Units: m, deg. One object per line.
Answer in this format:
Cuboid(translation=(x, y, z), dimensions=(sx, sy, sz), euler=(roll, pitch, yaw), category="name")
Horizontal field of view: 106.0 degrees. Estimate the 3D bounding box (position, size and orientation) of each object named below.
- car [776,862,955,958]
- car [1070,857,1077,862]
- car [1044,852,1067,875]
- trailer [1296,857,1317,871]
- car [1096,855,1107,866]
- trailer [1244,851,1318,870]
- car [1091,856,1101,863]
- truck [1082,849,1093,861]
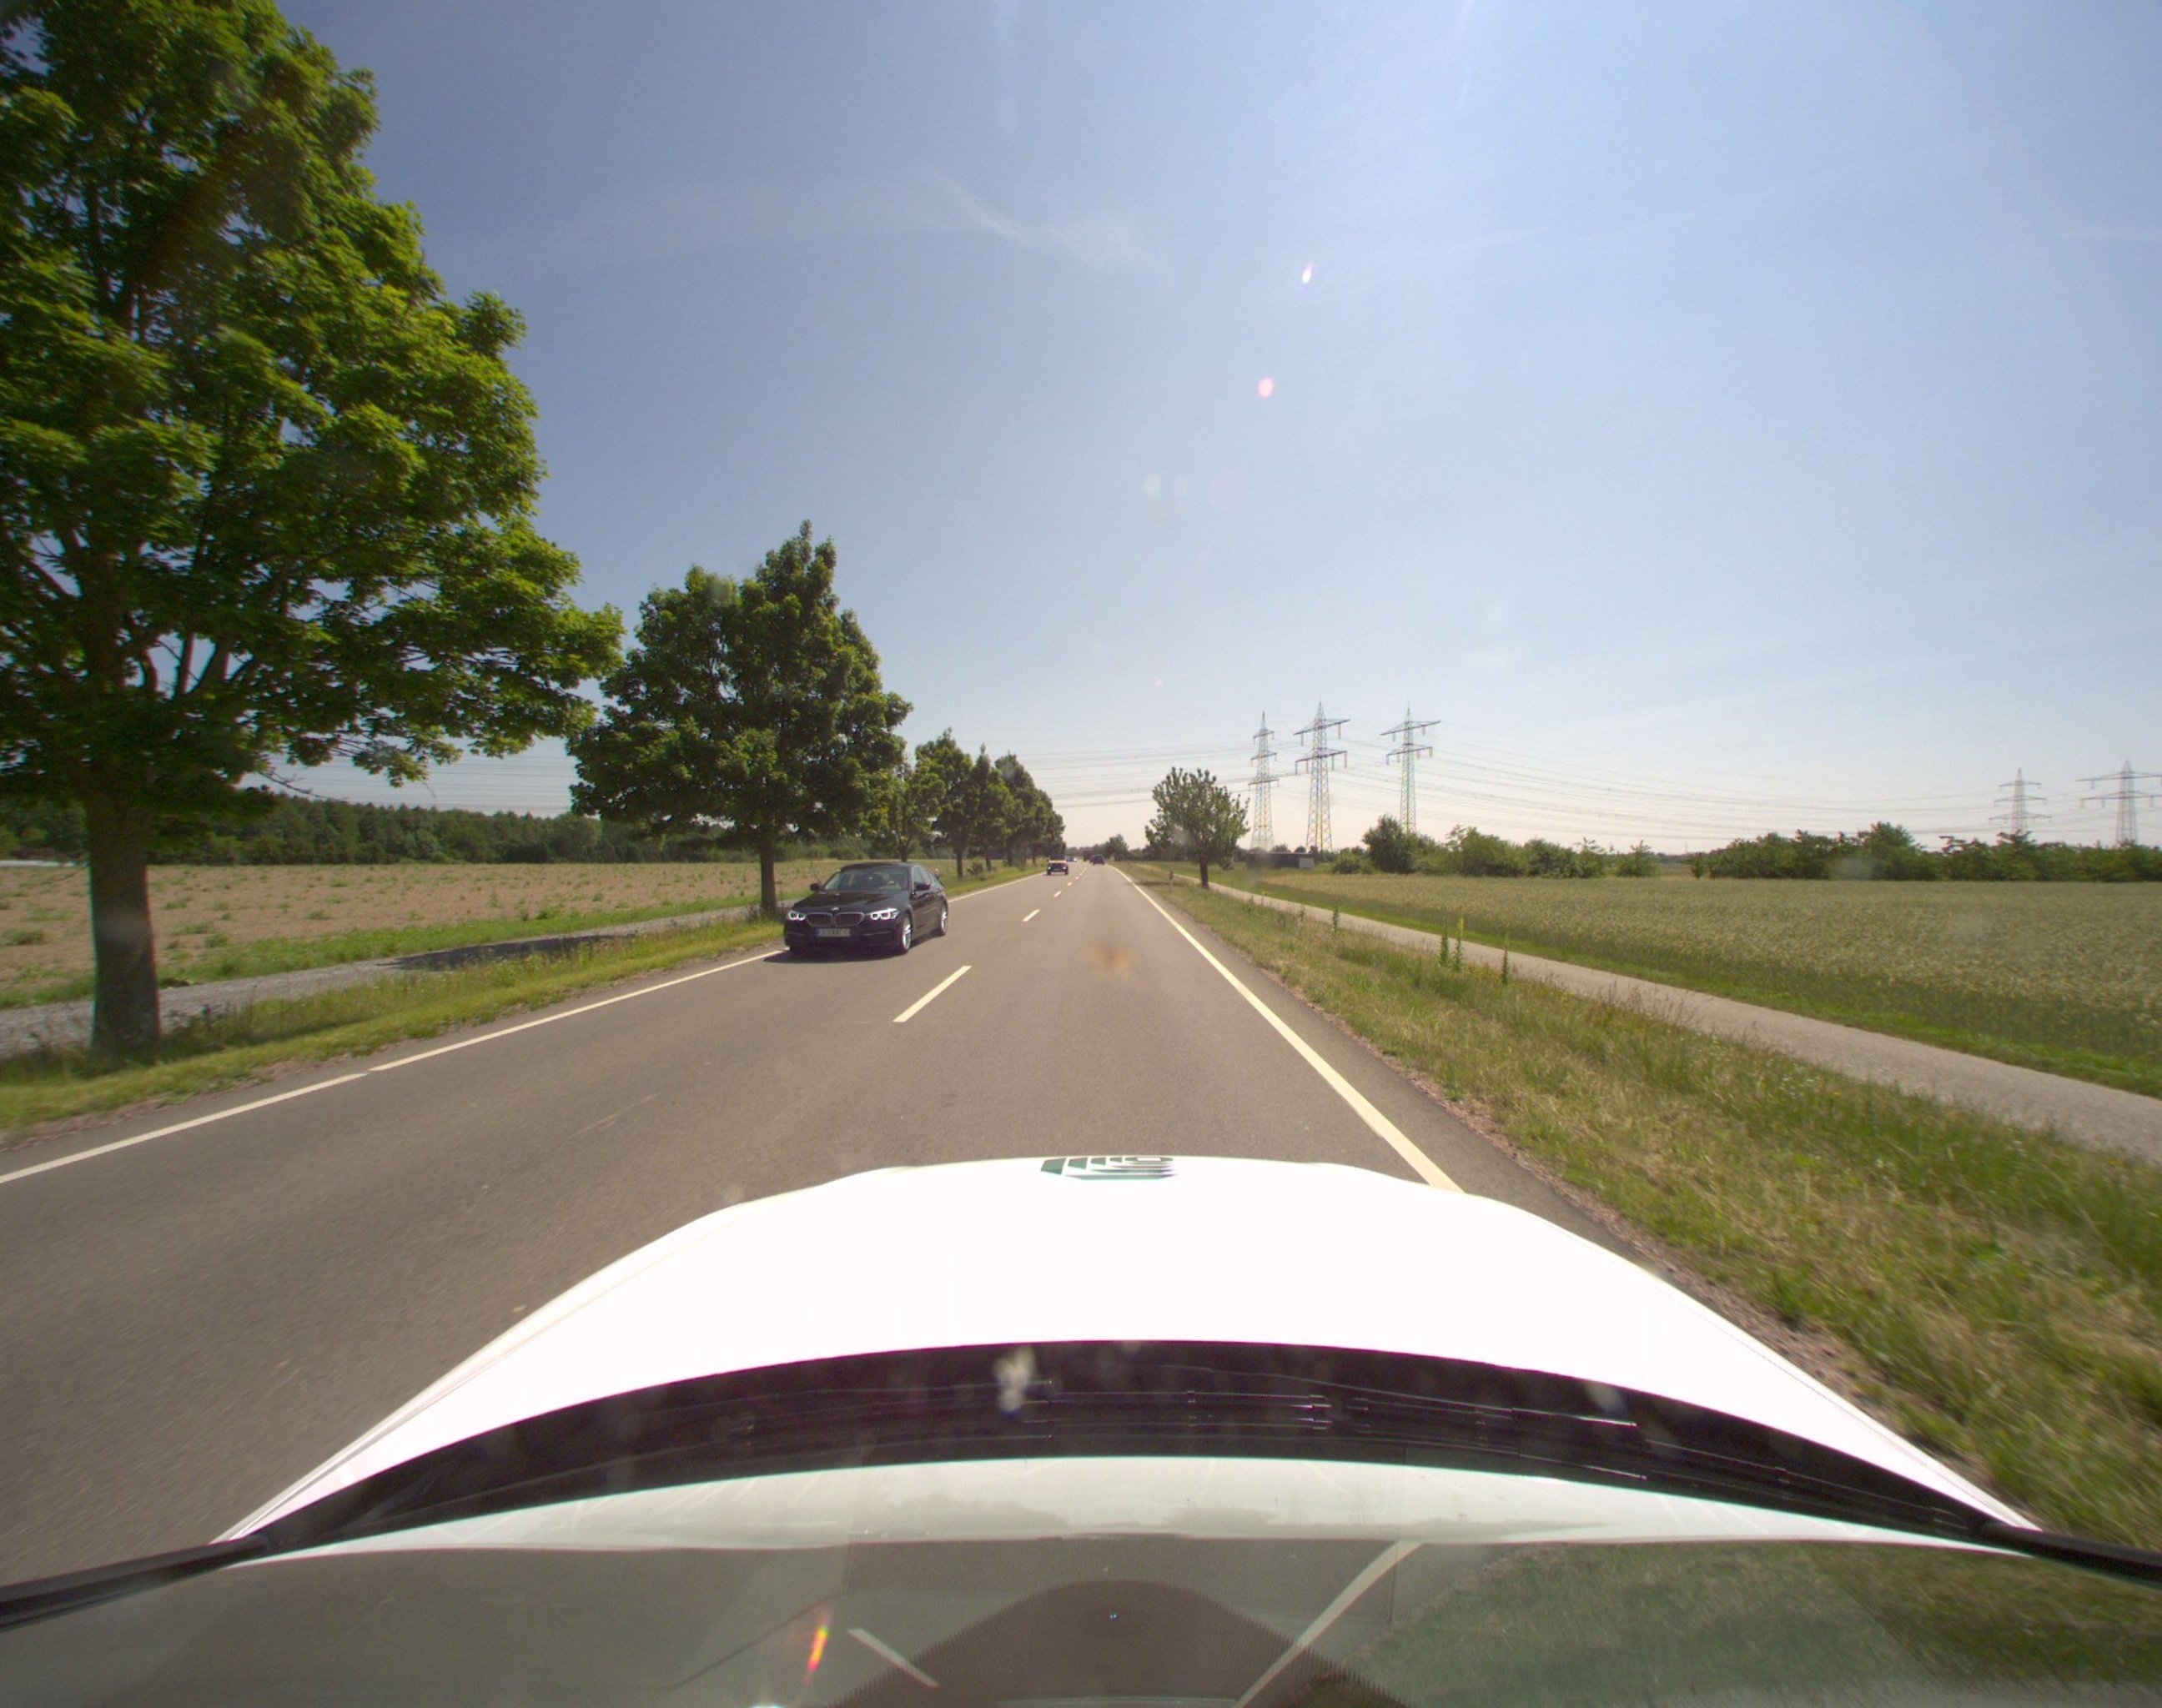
Cuboid(translation=(-3.587, 0.858, 14.497), dimensions=(1.815, 1.420, 4.591), euler=(-1, -1, 2), category="car")
Cuboid(translation=(-1.933, 1.379, 212.182), dimensions=(1.699, 1.332, 4.000), euler=(-1, -1, 1), category="car")
Cuboid(translation=(-2.094, 0.773, 68.055), dimensions=(1.675, 1.849, 4.001), euler=(0, 0, 1), category="car")
Cuboid(translation=(42.342, 1.851, 152.698), dimensions=(3.398, 2.462, 2.036), euler=(0, 0, -2), category="trailer")
Cuboid(translation=(3.346, 1.031, 133.746), dimensions=(1.709, 1.694, 3.988), euler=(-1, -1, 0), category="car")
Cuboid(translation=(38.091, 1.194, 155.386), dimensions=(13.471, 3.475, 3.274), euler=(0, 0, -2), category="trailer")
Cuboid(translation=(3.134, 1.166, 171.165), dimensions=(1.846, 1.523, 3.997), euler=(-1, -1, -2), category="car")
Cuboid(translation=(1.682, 0.221, 222.132), dimensions=(2.365, 3.140, 8.737), euler=(-1, -1, -3), category="truck")
